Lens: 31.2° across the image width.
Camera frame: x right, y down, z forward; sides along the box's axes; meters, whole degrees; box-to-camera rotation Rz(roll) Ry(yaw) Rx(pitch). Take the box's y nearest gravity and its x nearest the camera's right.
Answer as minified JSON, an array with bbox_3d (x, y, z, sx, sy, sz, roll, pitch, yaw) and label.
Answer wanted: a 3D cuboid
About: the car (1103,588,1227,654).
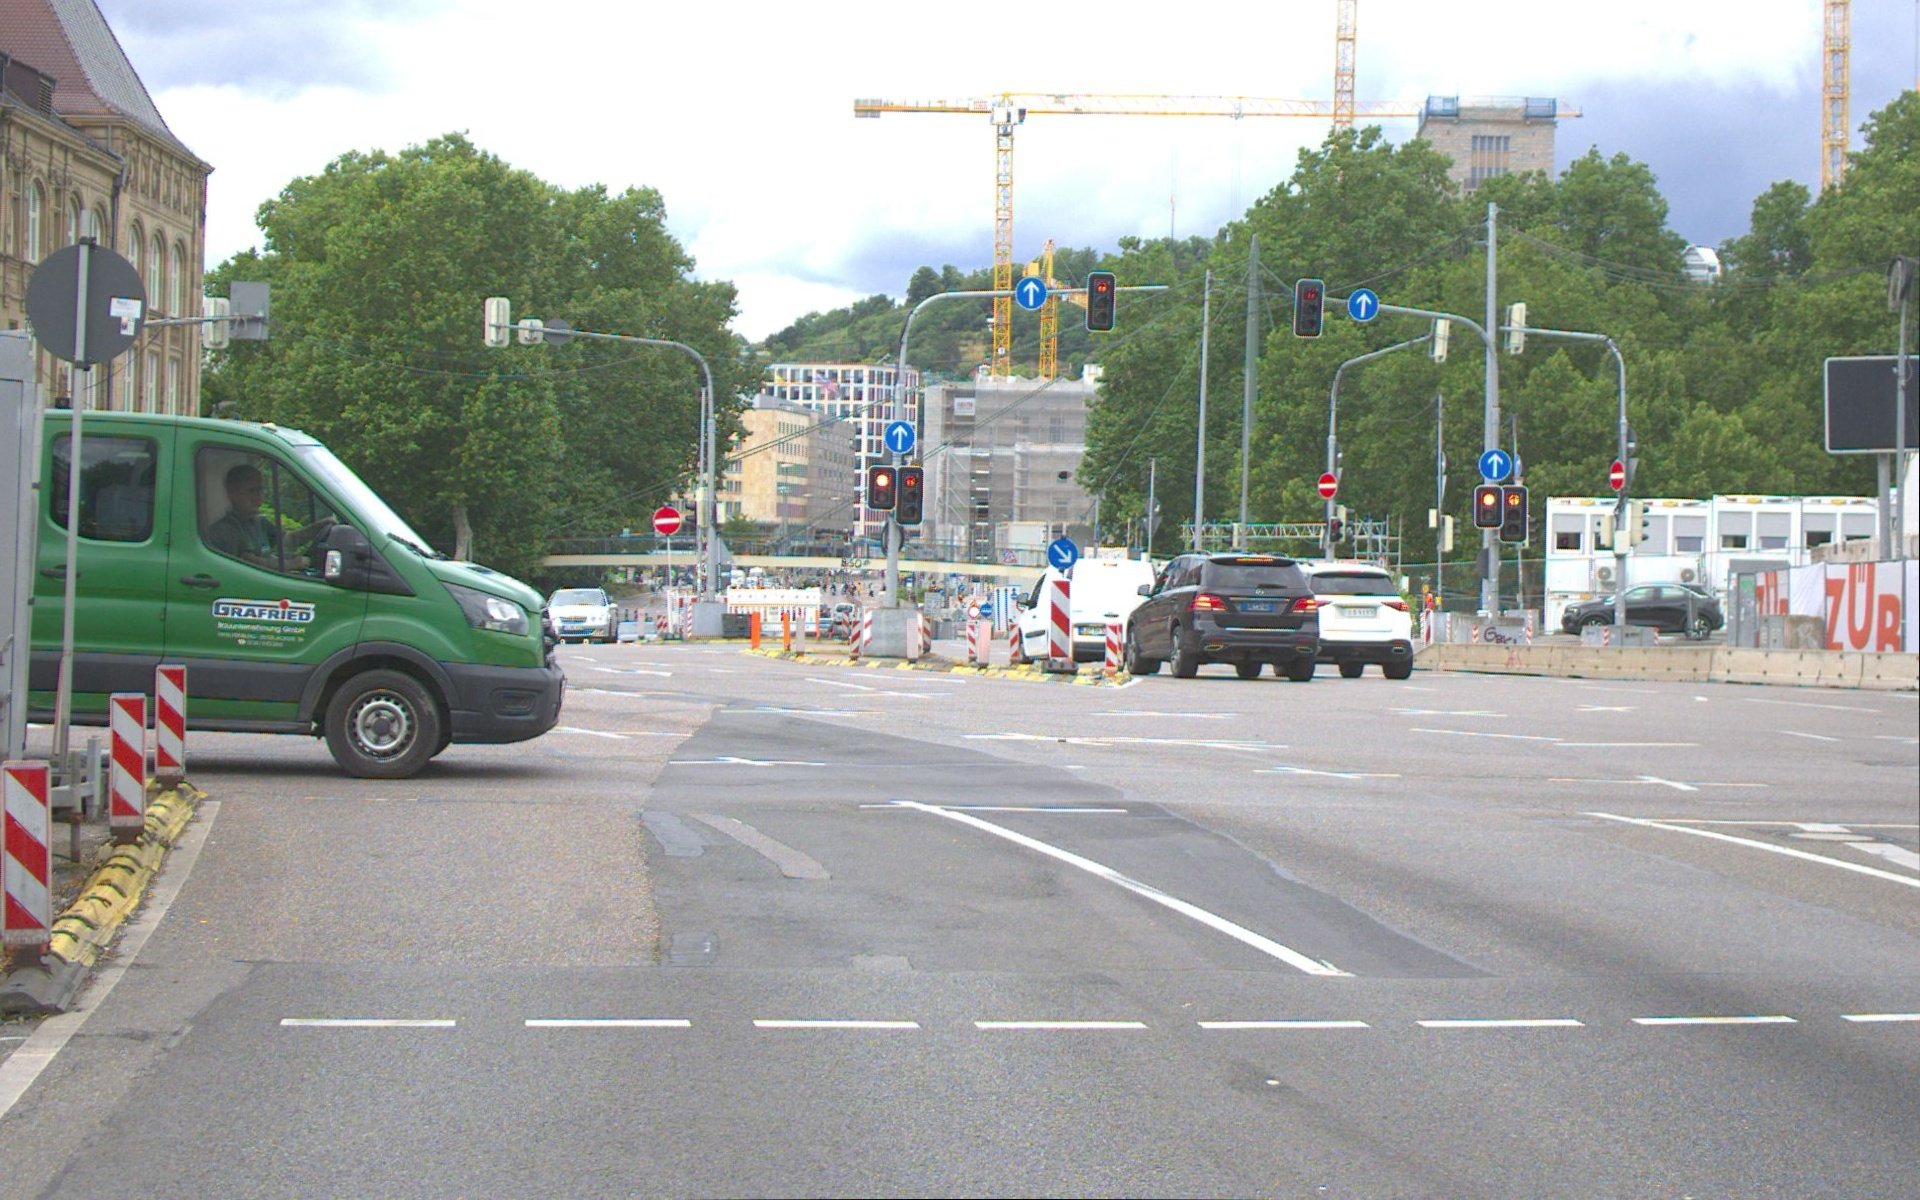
[{"bbox_3d":[4.515,0.452,75.998,1.675,1.393,3.087,1,1,-19],"label":"car"}]

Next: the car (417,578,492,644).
[{"bbox_3d":[-12.438,0.253,84.729,1.675,1.575,3.684,1,1,-7],"label":"car"}]

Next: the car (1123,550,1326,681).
[{"bbox_3d":[3.671,0.186,48.489,1.831,1.740,4.257,1,1,-10],"label":"car"}]

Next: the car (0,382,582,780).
[{"bbox_3d":[-5.280,-0.133,21.283,5.757,2.297,2.304,1,0,-5],"label":"car"}]

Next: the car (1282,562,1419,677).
[{"bbox_3d":[5.997,0.269,53.056,1.676,1.696,3.374,1,1,-1],"label":"car"}]

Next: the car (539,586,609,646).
[{"bbox_3d":[-9.547,0.381,85.035,1.675,1.393,3.684,1,1,-7],"label":"car"}]

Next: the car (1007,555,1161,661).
[{"bbox_3d":[1.961,0.102,55.536,1.816,1.619,4.001,1,1,-8],"label":"car"}]
